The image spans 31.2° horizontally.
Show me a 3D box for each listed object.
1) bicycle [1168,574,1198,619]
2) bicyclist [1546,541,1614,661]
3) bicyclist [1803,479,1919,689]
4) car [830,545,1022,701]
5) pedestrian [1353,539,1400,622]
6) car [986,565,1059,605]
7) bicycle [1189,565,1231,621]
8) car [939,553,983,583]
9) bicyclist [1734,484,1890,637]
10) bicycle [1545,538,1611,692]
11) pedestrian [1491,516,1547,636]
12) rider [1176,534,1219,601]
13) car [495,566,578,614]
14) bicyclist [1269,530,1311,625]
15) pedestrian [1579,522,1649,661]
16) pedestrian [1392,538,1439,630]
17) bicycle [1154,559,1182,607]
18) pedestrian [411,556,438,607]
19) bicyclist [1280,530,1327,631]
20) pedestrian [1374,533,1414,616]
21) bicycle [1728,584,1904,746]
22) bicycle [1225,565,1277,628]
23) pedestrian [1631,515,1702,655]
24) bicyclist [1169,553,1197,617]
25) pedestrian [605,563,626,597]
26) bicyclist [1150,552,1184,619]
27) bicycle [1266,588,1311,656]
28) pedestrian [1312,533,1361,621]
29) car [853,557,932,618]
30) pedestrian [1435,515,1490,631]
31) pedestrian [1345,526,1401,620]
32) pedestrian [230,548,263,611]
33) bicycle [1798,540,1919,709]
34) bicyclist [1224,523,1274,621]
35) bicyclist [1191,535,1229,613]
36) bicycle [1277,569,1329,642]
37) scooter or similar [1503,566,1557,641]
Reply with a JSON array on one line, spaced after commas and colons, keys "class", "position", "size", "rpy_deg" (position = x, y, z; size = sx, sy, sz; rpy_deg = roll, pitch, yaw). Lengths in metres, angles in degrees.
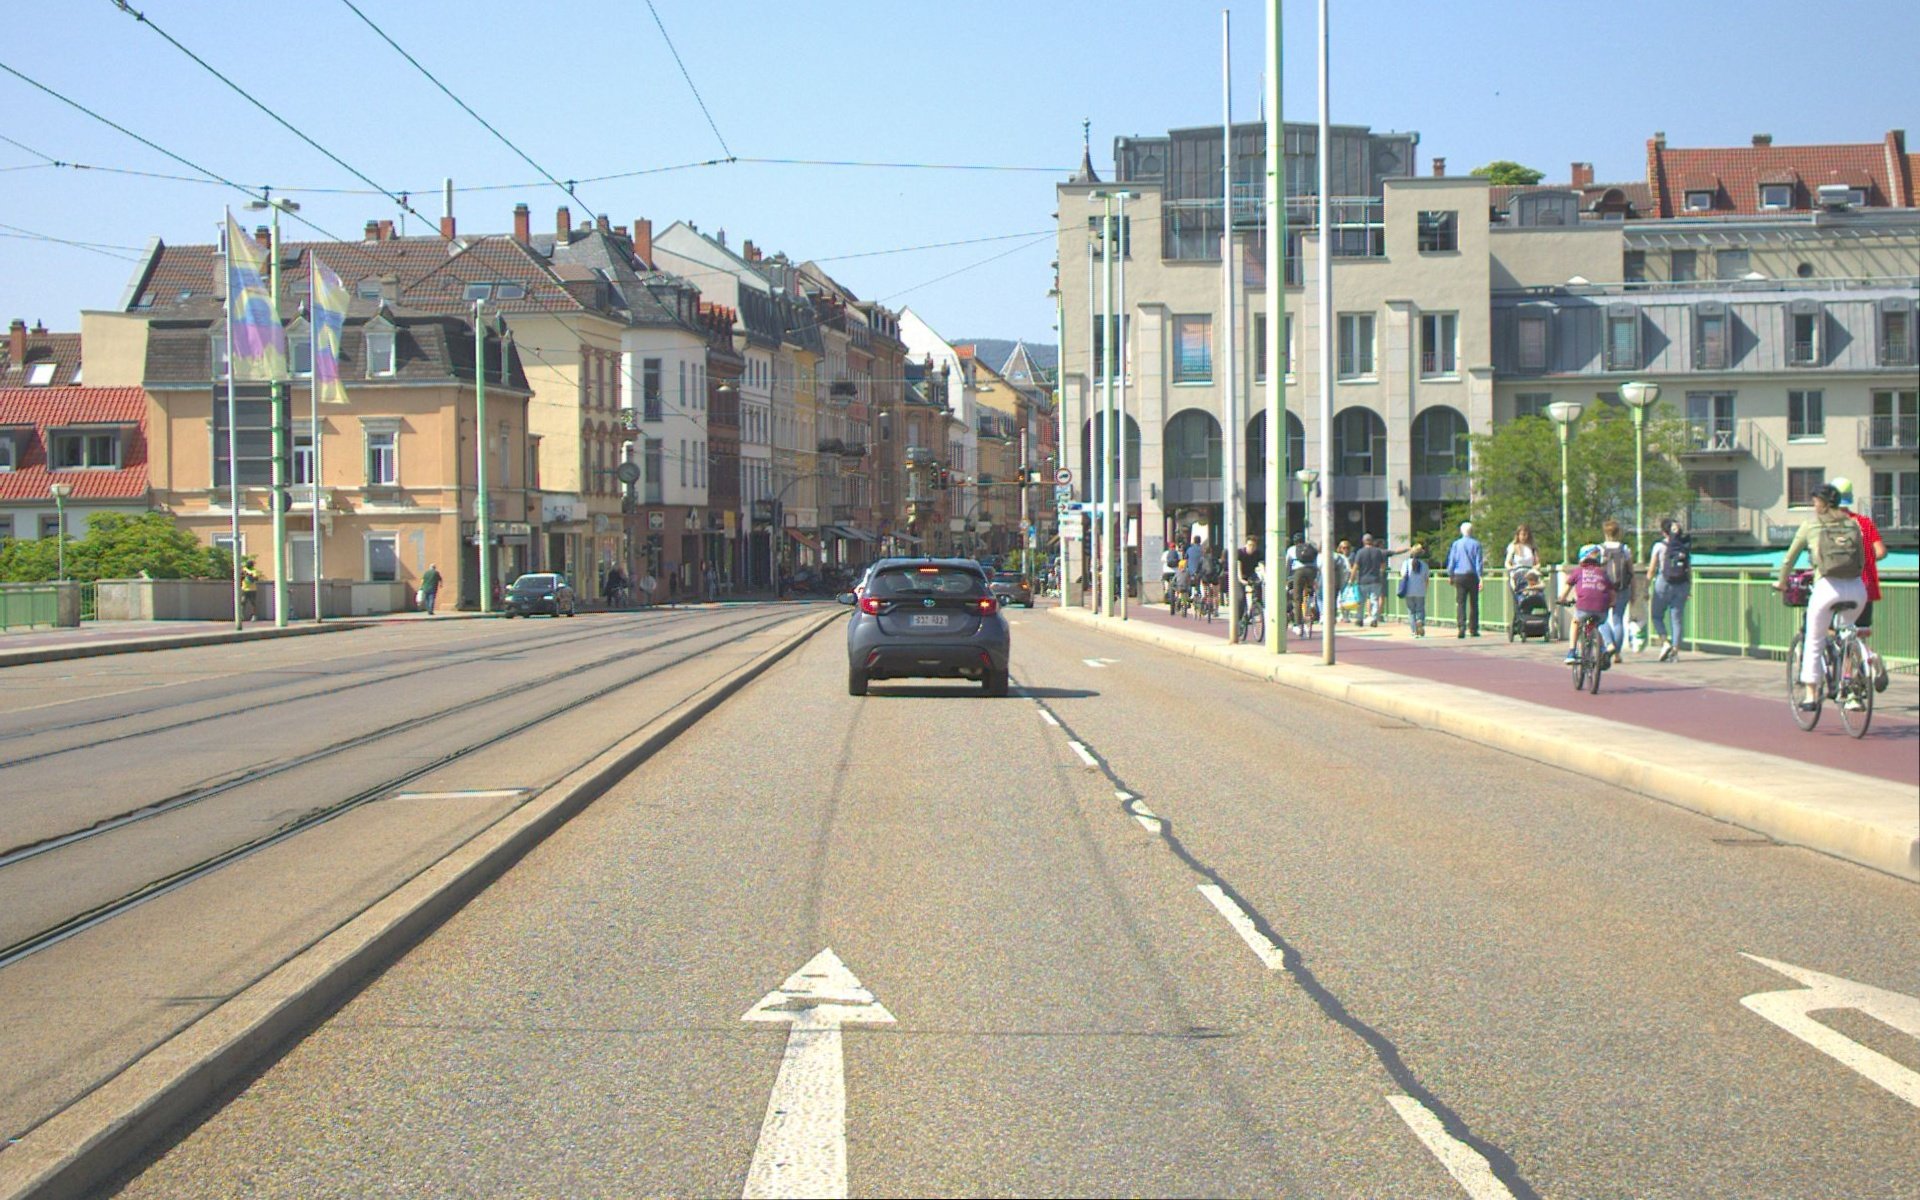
[{"class": "bicycle", "position": [5.400, -0.099, 83.483], "size": [0.666, 1.046, 2.029], "rpy_deg": [0, 1, 2]}, {"class": "bicyclist", "position": [5.737, 0.002, 31.827], "size": [0.599, 1.098, 0.852], "rpy_deg": [0, 1, 9]}, {"class": "bicyclist", "position": [7.151, -0.136, 27.143], "size": [0.735, 1.630, 0.867], "rpy_deg": [0, 1, -3]}, {"class": "car", "position": [-0.429, 0.210, 38.204], "size": [1.910, 1.535, 4.001], "rpy_deg": [-1, 2, -3]}, {"class": "pedestrian", "position": [8.483, -0.405, 70.016], "size": [0.834, 1.683, 0.869], "rpy_deg": [0, 1, -1]}, {"class": "car", "position": [2.538, -0.629, 138.862], "size": [1.805, 1.464, 3.997], "rpy_deg": [-2, 1, 18]}, {"class": "bicycle", "position": [5.364, -0.159, 73.825], "size": [0.666, 1.174, 2.029], "rpy_deg": [0, 1, -2]}, {"class": "car", "position": [0.047, -1.596, 171.395], "size": [1.878, 1.404, 4.000], "rpy_deg": [0, 1, 4]}, {"class": "bicyclist", "position": [5.878, -0.281, 23.761], "size": [0.735, 1.027, 1.175], "rpy_deg": [0, 1, -3]}, {"class": "bicycle", "position": [5.702, 0.118, 31.782], "size": [0.534, 1.362, 2.215], "rpy_deg": [0, 1, 9]}, {"class": "pedestrian", "position": [8.249, -0.362, 50.777], "size": [0.641, 1.750, 0.867], "rpy_deg": [0, 1, -3]}, {"class": "rider", "position": [5.390, -0.739, 78.003], "size": [0.889, 1.499, 0.841], "rpy_deg": [0, 1, -2]}, {"class": "car", "position": [-13.798, -0.334, 112.286], "size": [1.994, 1.474, 4.000], "rpy_deg": [0, 1, 3]}, {"class": "bicyclist", "position": [5.905, -0.400, 61.526], "size": [0.627, 1.683, 0.869], "rpy_deg": [0, 1, -2]}, {"class": "pedestrian", "position": [7.522, -0.109, 39.563], "size": [0.599, 1.580, 0.867], "rpy_deg": [0, 1, -3]}, {"class": "pedestrian", "position": [7.287, -0.264, 55.055], "size": [0.613, 1.460, 0.848], "rpy_deg": [0, 1, -1]}, {"class": "bicycle", "position": [5.238, -0.427, 86.724], "size": [0.666, 1.174, 2.029], "rpy_deg": [0, 1, 2]}, {"class": "pedestrian", "position": [-17.832, -0.616, 114.420], "size": [0.763, 1.659, 0.663], "rpy_deg": [0, 1, 1]}, {"class": "bicyclist", "position": [5.713, -0.334, 57.228], "size": [0.656, 1.670, 0.869], "rpy_deg": [0, 1, -2]}, {"class": "pedestrian", "position": [8.676, -0.515, 68.764], "size": [0.712, 1.645, 0.848], "rpy_deg": [0, 1, 2]}, {"class": "bicycle", "position": [5.892, 0.424, 23.775], "size": [0.618, 1.034, 2.051], "rpy_deg": [0, 1, -3]}, {"class": "bicycle", "position": [4.734, -0.062, 56.000], "size": [0.653, 0.978, 2.178], "rpy_deg": [-2, 0, 1]}, {"class": "pedestrian", "position": [8.135, -0.180, 39.590], "size": [0.599, 1.580, 0.867], "rpy_deg": [0, 1, -3]}, {"class": "bicyclist", "position": [5.401, -0.369, 83.385], "size": [0.651, 1.524, 0.975], "rpy_deg": [0, 1, 2]}, {"class": "pedestrian", "position": [-13.967, -0.816, 139.424], "size": [0.763, 1.393, 0.663], "rpy_deg": [0, 1, 1]}, {"class": "bicyclist", "position": [5.222, -0.357, 86.706], "size": [0.796, 1.670, 0.869], "rpy_deg": [1, 0, 2]}, {"class": "bicycle", "position": [5.884, 0.386, 61.714], "size": [0.526, 1.174, 2.029], "rpy_deg": [0, 1, -2]}, {"class": "pedestrian", "position": [7.298, -0.452, 66.724], "size": [0.834, 1.683, 0.869], "rpy_deg": [0, 1, -1]}, {"class": "car", "position": [-1.773, -0.350, 89.162], "size": [1.803, 1.464, 4.001], "rpy_deg": [-2, 1, -4]}, {"class": "pedestrian", "position": [7.883, -0.424, 53.986], "size": [0.712, 1.804, 0.848], "rpy_deg": [0, 1, -1]}, {"class": "pedestrian", "position": [7.816, -0.518, 65.121], "size": [0.929, 1.755, 0.938], "rpy_deg": [0, 1, -1]}, {"class": "pedestrian", "position": [-20.136, -0.584, 96.978], "size": [0.763, 1.780, 0.663], "rpy_deg": [0, 1, 1]}, {"class": "bicycle", "position": [7.236, 0.169, 27.118], "size": [0.618, 1.266, 2.216], "rpy_deg": [0, 1, -3]}, {"class": "bicyclist", "position": [4.712, -0.459, 56.056], "size": [0.653, 1.561, 1.338], "rpy_deg": [-2, 0, 1]}, {"class": "bicyclist", "position": [5.363, -0.560, 73.847], "size": [0.715, 1.670, 0.869], "rpy_deg": [0, 1, -2]}, {"class": "bicycle", "position": [5.706, 0.087, 57.320], "size": [0.593, 1.174, 1.940], "rpy_deg": [0, 1, -2]}, {"class": "scooter or similar", "position": [8.273, 0.041, 49.904], "size": [0.588, 1.065, 0.865], "rpy_deg": [0, 1, -3]}]
